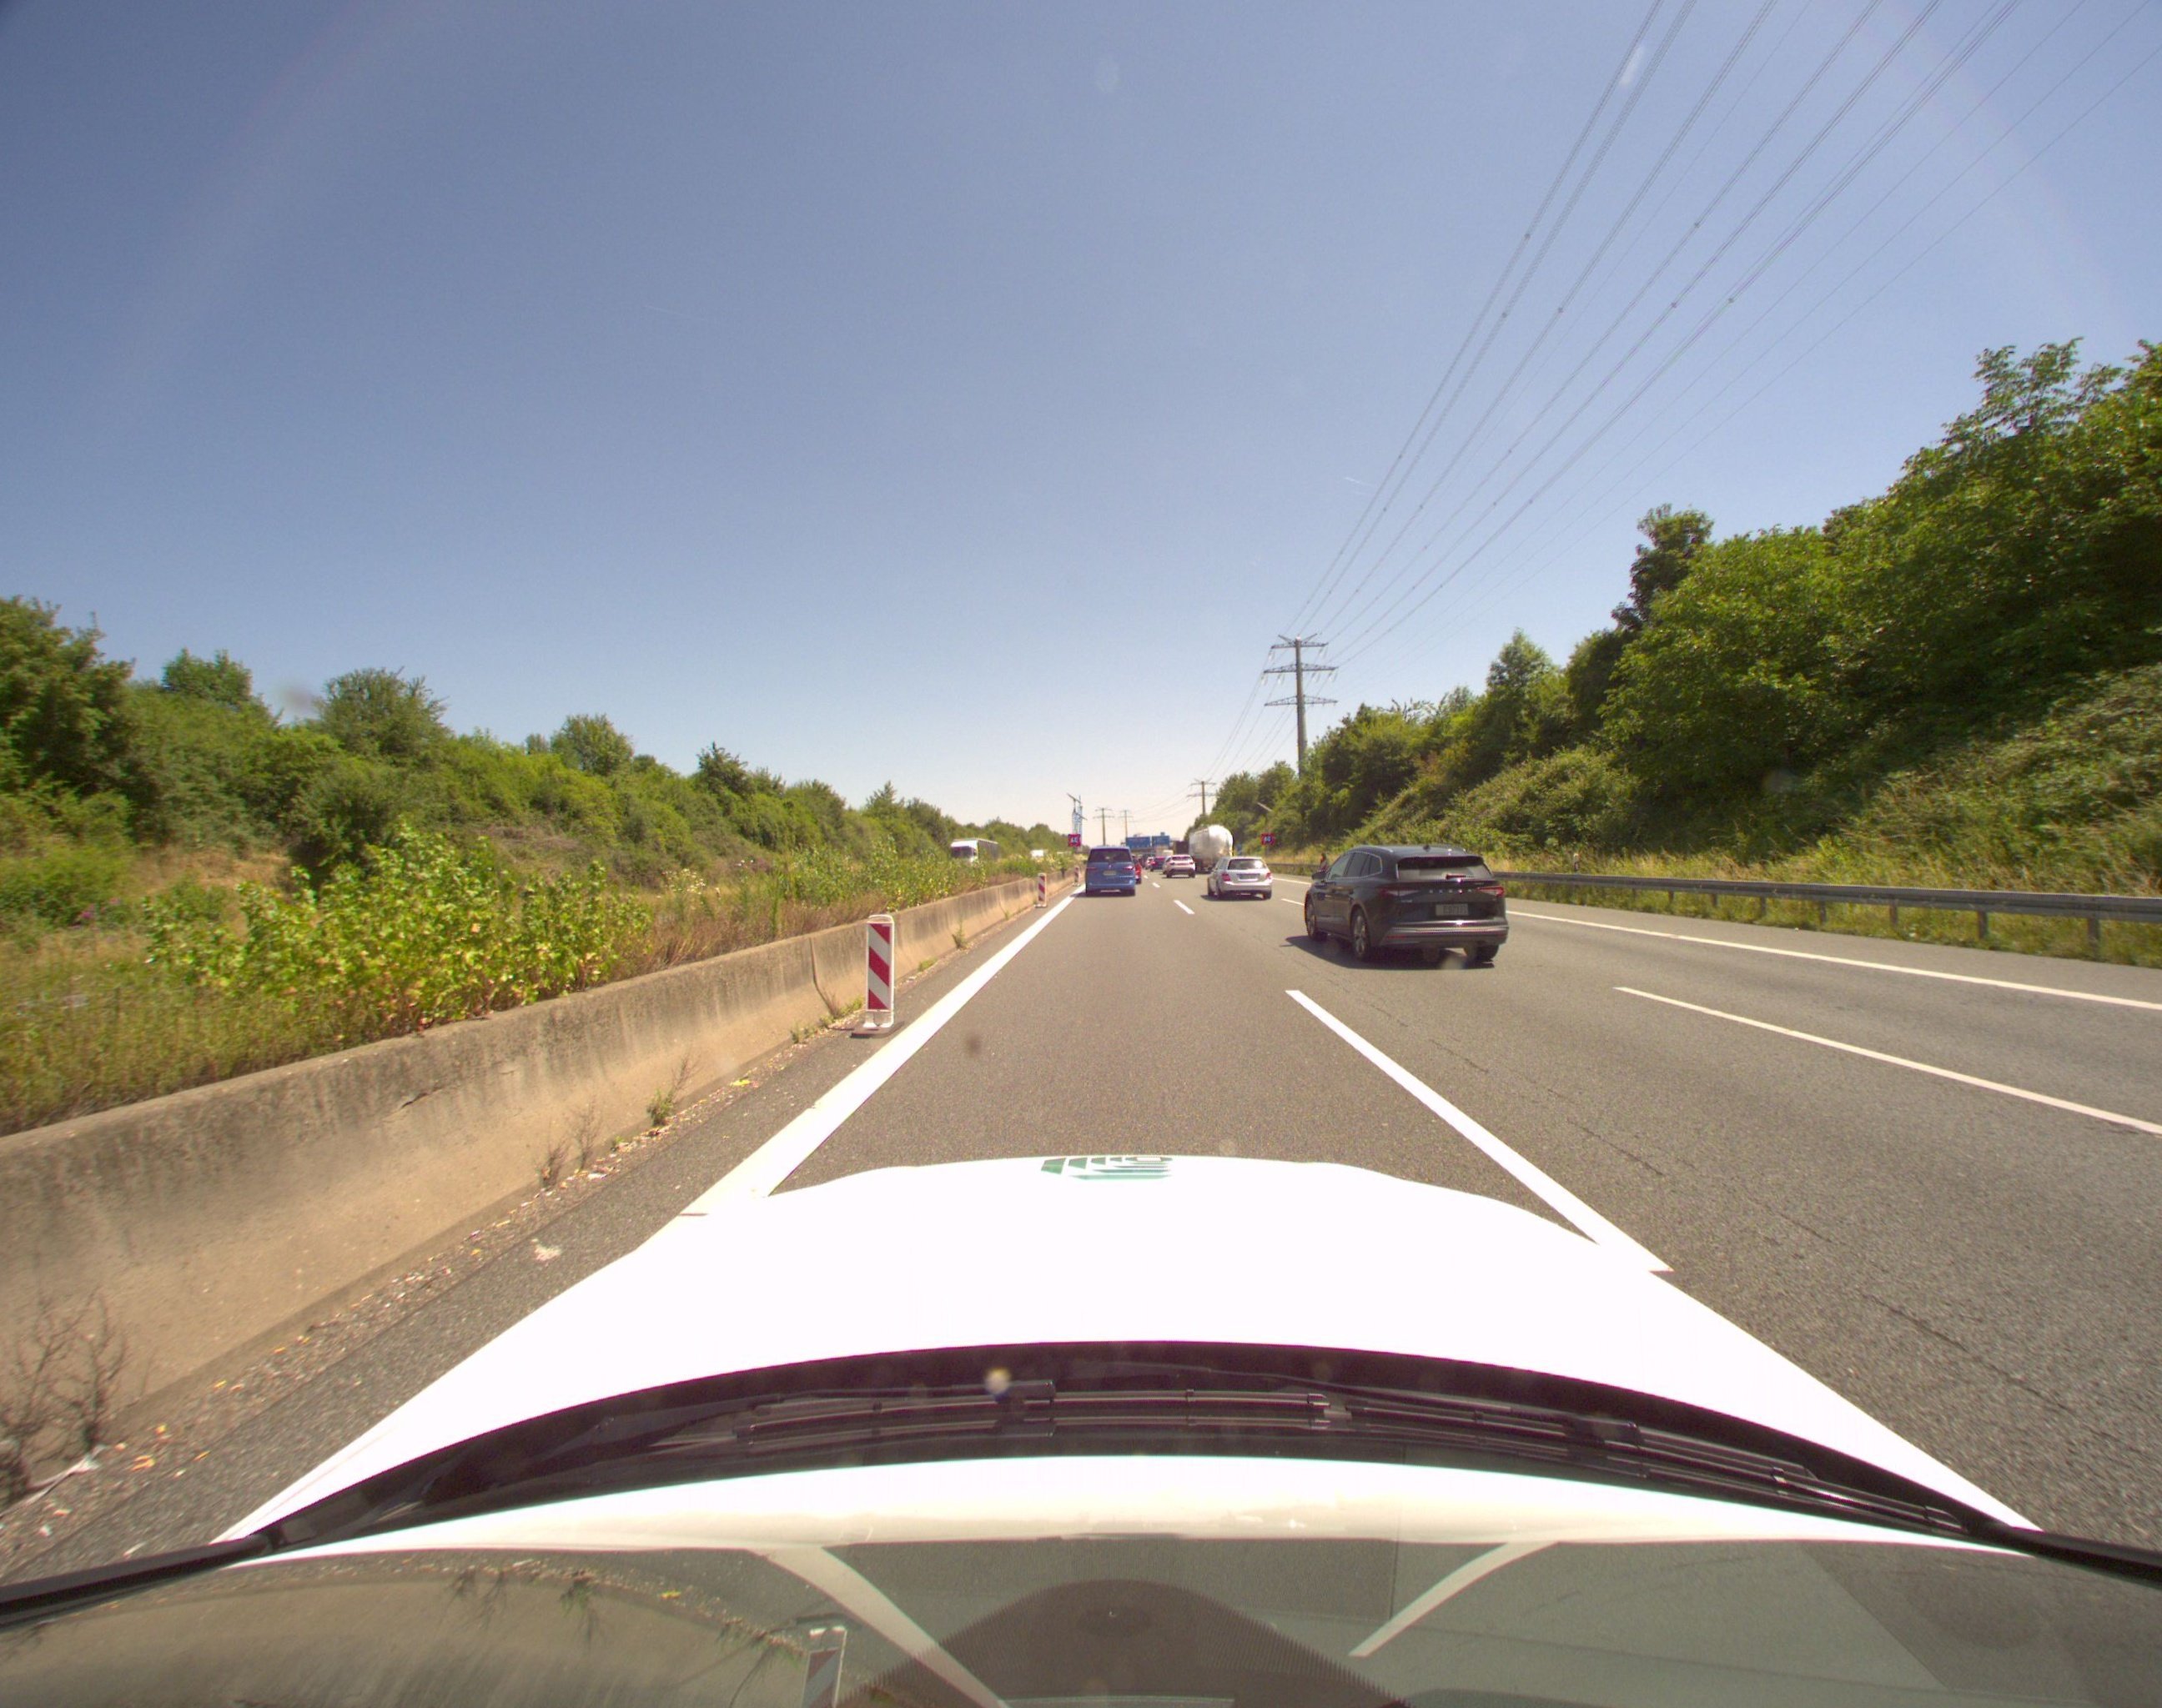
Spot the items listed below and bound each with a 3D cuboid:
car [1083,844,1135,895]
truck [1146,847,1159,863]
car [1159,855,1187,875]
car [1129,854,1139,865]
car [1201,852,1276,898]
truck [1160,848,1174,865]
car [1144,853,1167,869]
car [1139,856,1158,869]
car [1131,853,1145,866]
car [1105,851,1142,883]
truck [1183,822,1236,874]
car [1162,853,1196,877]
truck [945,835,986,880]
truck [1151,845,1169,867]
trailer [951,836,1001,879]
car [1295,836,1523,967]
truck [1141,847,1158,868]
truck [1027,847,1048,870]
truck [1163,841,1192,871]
[{"bbox_3d":[1.061,0.577,31.925,1.864,1.879,4.384,0,0,1],"label":"car"},{"bbox_3d":[19.661,0.189,225.588,2.927,4.291,12.557,0,0,2],"label":"truck"},{"bbox_3d":[7.584,0.881,67.441,1.902,1.569,4.384,0,0,1],"label":"car"},{"bbox_3d":[9.909,1.058,152.585,1.985,2.014,4.003,0,0,3],"label":"car"},{"bbox_3d":[5.337,0.678,28.052,1.814,1.437,4.384,0,0,1],"label":"car"},{"bbox_3d":[14.786,0.430,139.703,1.986,2.723,5.682,0,0,2],"label":"truck"},{"bbox_3d":[7.349,0.675,80.526,1.902,1.516,4.384,0,0,1],"label":"car"},{"bbox_3d":[7.790,0.994,94.568,1.902,1.516,4.384,0,0,1],"label":"car"},{"bbox_3d":[9.034,0.930,129.423,1.986,2.014,4.002,0,0,2],"label":"car"},{"bbox_3d":[2.281,0.705,44.651,1.901,1.631,4.385,-1,0,2],"label":"car"},{"bbox_3d":[11.001,-0.411,71.530,2.634,4.072,16.447,0,0,2],"label":"truck"},{"bbox_3d":[6.620,0.720,55.132,1.902,1.508,3.922,0,0,1],"label":"car"},{"bbox_3d":[-11.707,0.375,83.097,2.740,4.166,6.415,-5,-1,2],"label":"truck"},{"bbox_3d":[16.431,0.470,169.765,2.927,4.291,12.557,0,0,2],"label":"truck"},{"bbox_3d":[-11.414,0.410,89.918,2.742,4.166,14.205,-5,0,2],"label":"trailer"},{"bbox_3d":[4.700,0.596,12.439,1.821,1.614,4.433,-1,0,2],"label":"car"},{"bbox_3d":[9.006,0.499,107.185,1.986,2.723,5.682,0,0,2],"label":"truck"},{"bbox_3d":[-7.895,0.815,148.951,2.752,3.888,9.034,-5,0,2],"label":"truck"},{"bbox_3d":[12.234,0.253,104.305,2.634,3.539,12.557,0,0,2],"label":"truck"}]
